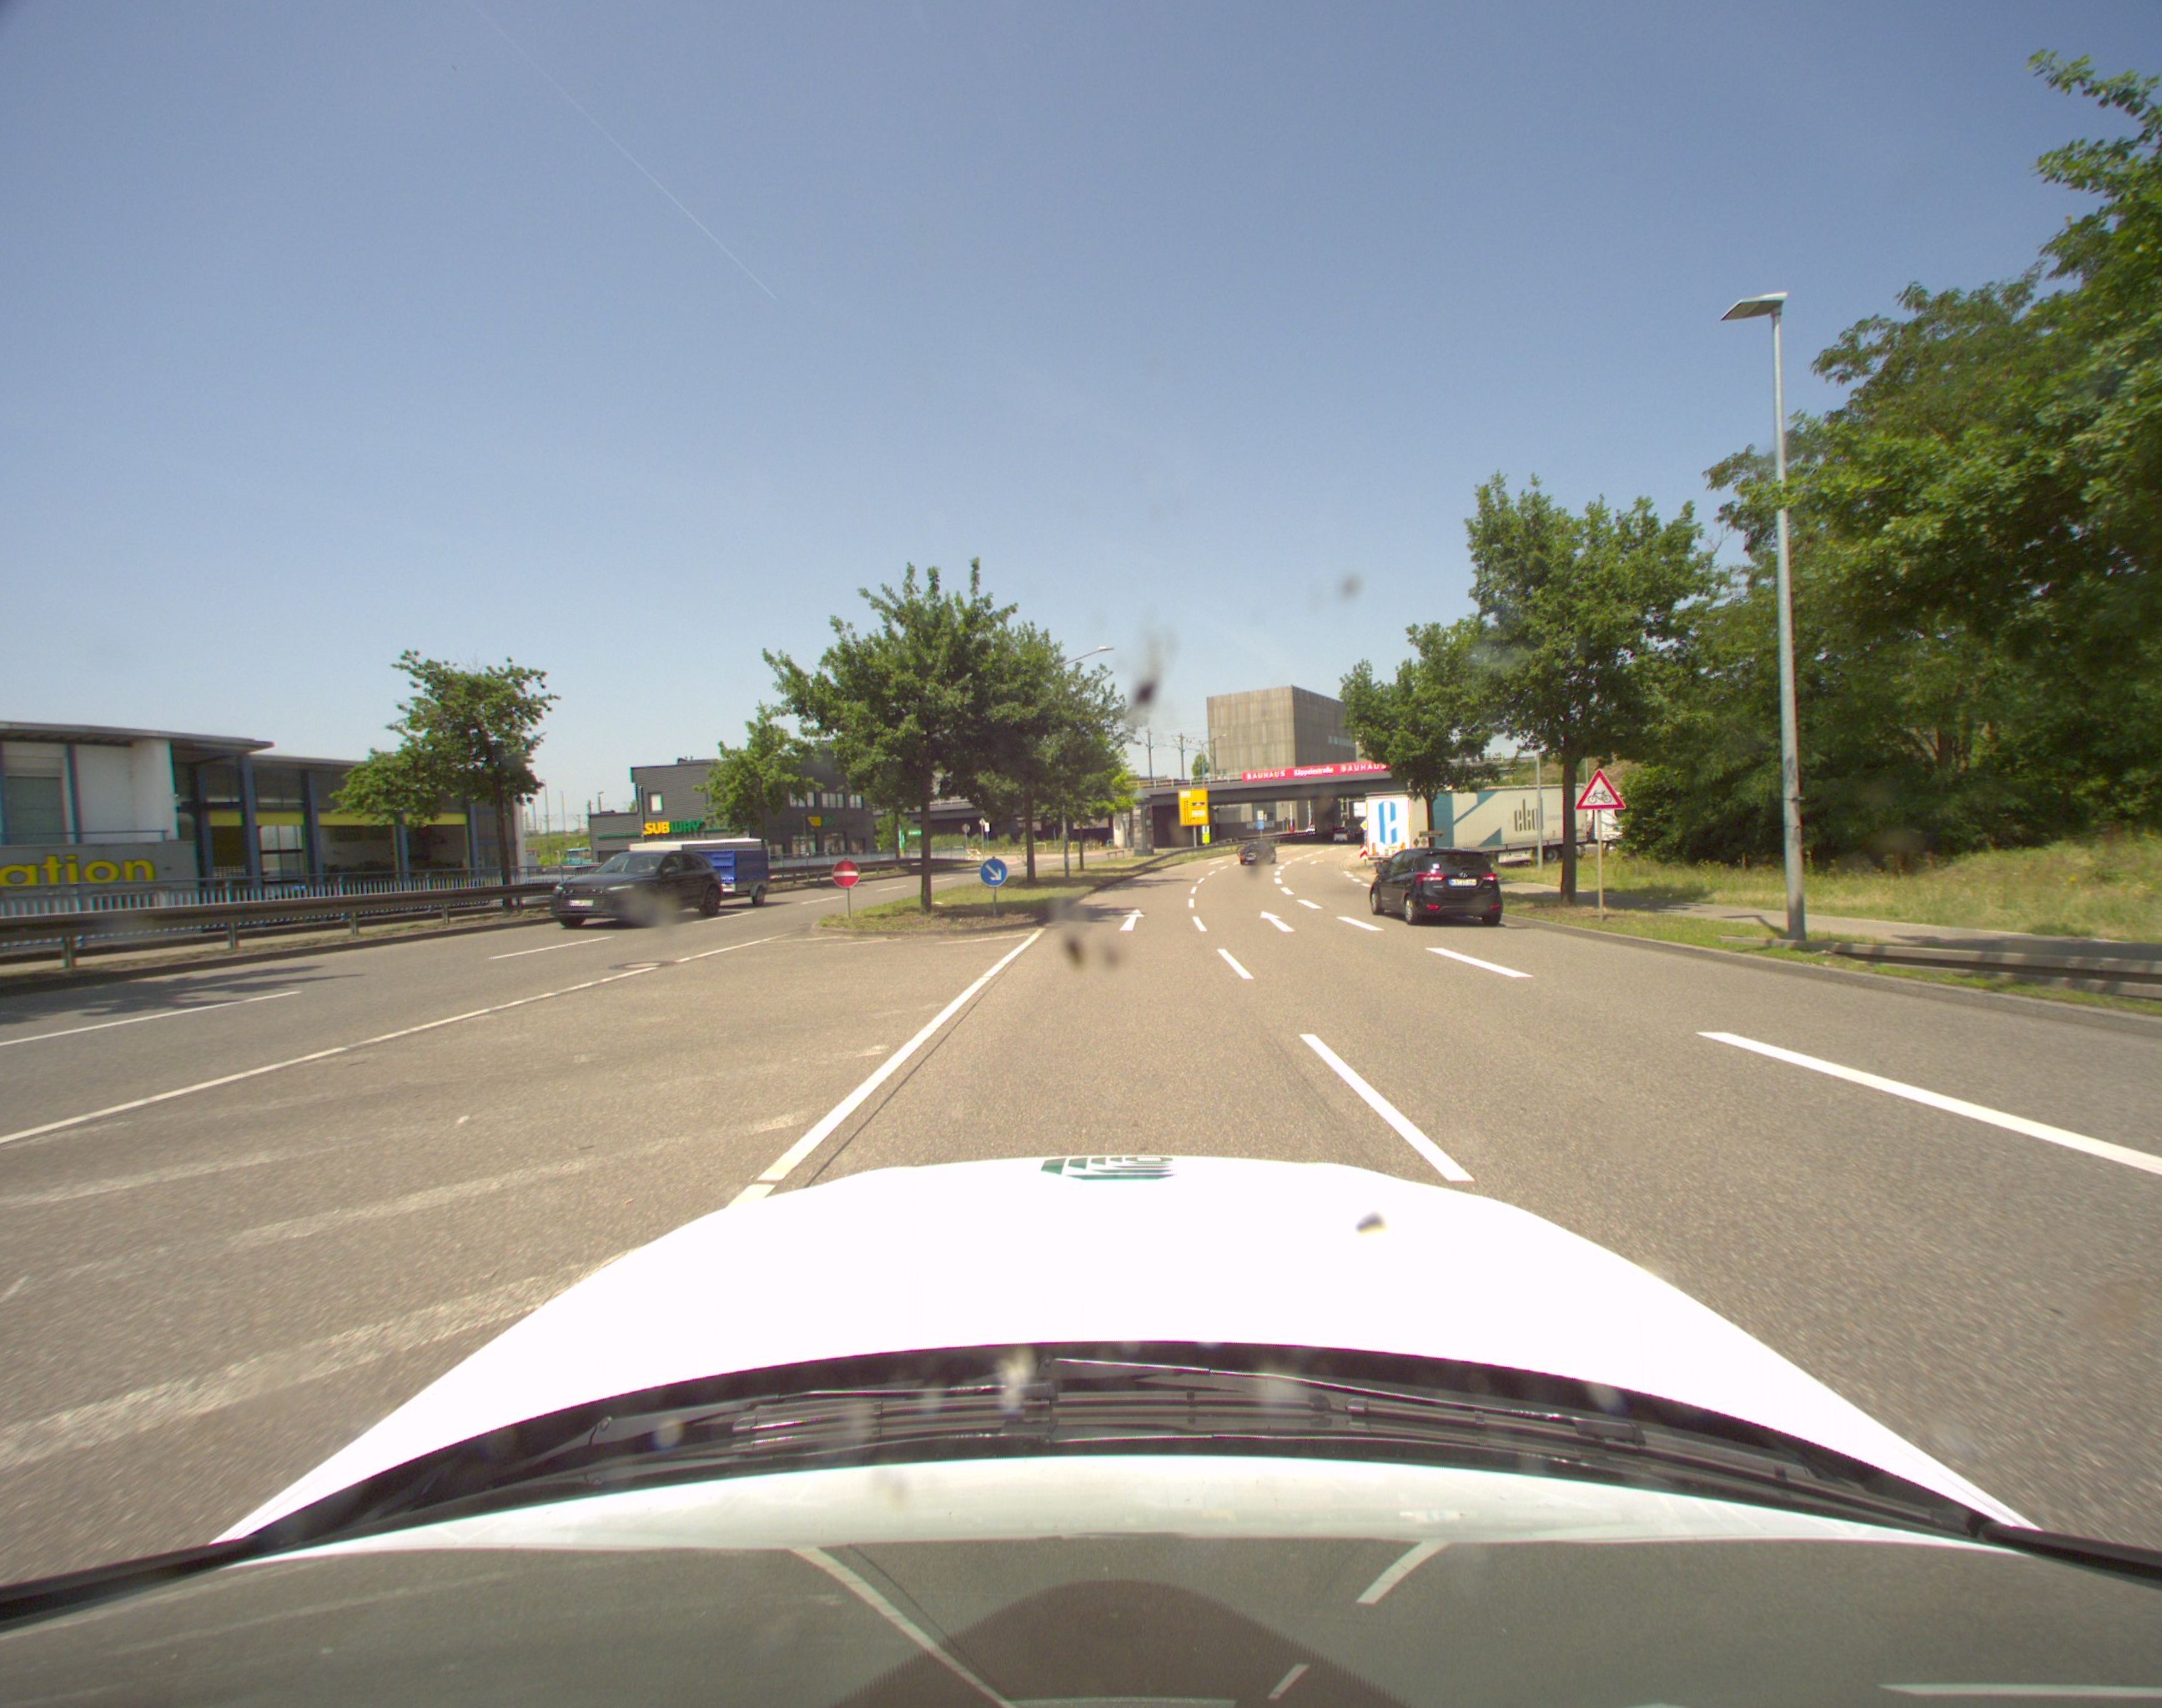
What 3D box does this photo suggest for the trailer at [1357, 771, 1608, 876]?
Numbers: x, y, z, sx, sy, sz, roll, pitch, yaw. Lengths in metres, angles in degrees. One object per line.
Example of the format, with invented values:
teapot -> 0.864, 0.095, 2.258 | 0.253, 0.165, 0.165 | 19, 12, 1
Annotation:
trailer -> 20.488, -1.664, 40.876 | 14.814, 4.368, 3.060 | -4, 0, -28

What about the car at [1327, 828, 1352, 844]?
car -> 30.763, -2.161, 96.895 | 1.921, 1.721, 4.026 | -1, 2, 31

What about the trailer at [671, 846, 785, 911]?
trailer -> -9.881, 0.618, 23.028 | 1.497, 1.615, 3.314 | 0, 2, 6

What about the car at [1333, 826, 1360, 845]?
car -> 28.146, -2.004, 86.198 | 1.822, 1.890, 4.026 | -1, 2, 31

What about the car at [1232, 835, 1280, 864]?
car -> 10.948, -0.307, 50.664 | 1.939, 1.633, 4.306 | -1, 2, 25

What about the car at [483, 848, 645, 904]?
car -> -17.225, 0.669, 27.485 | 1.886, 1.569, 4.653 | -4, 0, 9

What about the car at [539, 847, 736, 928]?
car -> -10.176, 0.682, 19.154 | 1.905, 1.652, 4.414 | 1, 0, 5

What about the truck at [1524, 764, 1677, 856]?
truck -> 27.725, -2.271, 43.643 | 6.045, 4.368, 3.083 | -4, 0, -3

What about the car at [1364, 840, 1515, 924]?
car -> 7.550, 0.560, 17.611 | 1.758, 1.599, 4.083 | -1, -1, 5

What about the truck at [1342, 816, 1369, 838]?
truck -> 34.794, -3.402, 103.051 | 2.047, 2.537, 4.026 | -3, 1, 35
